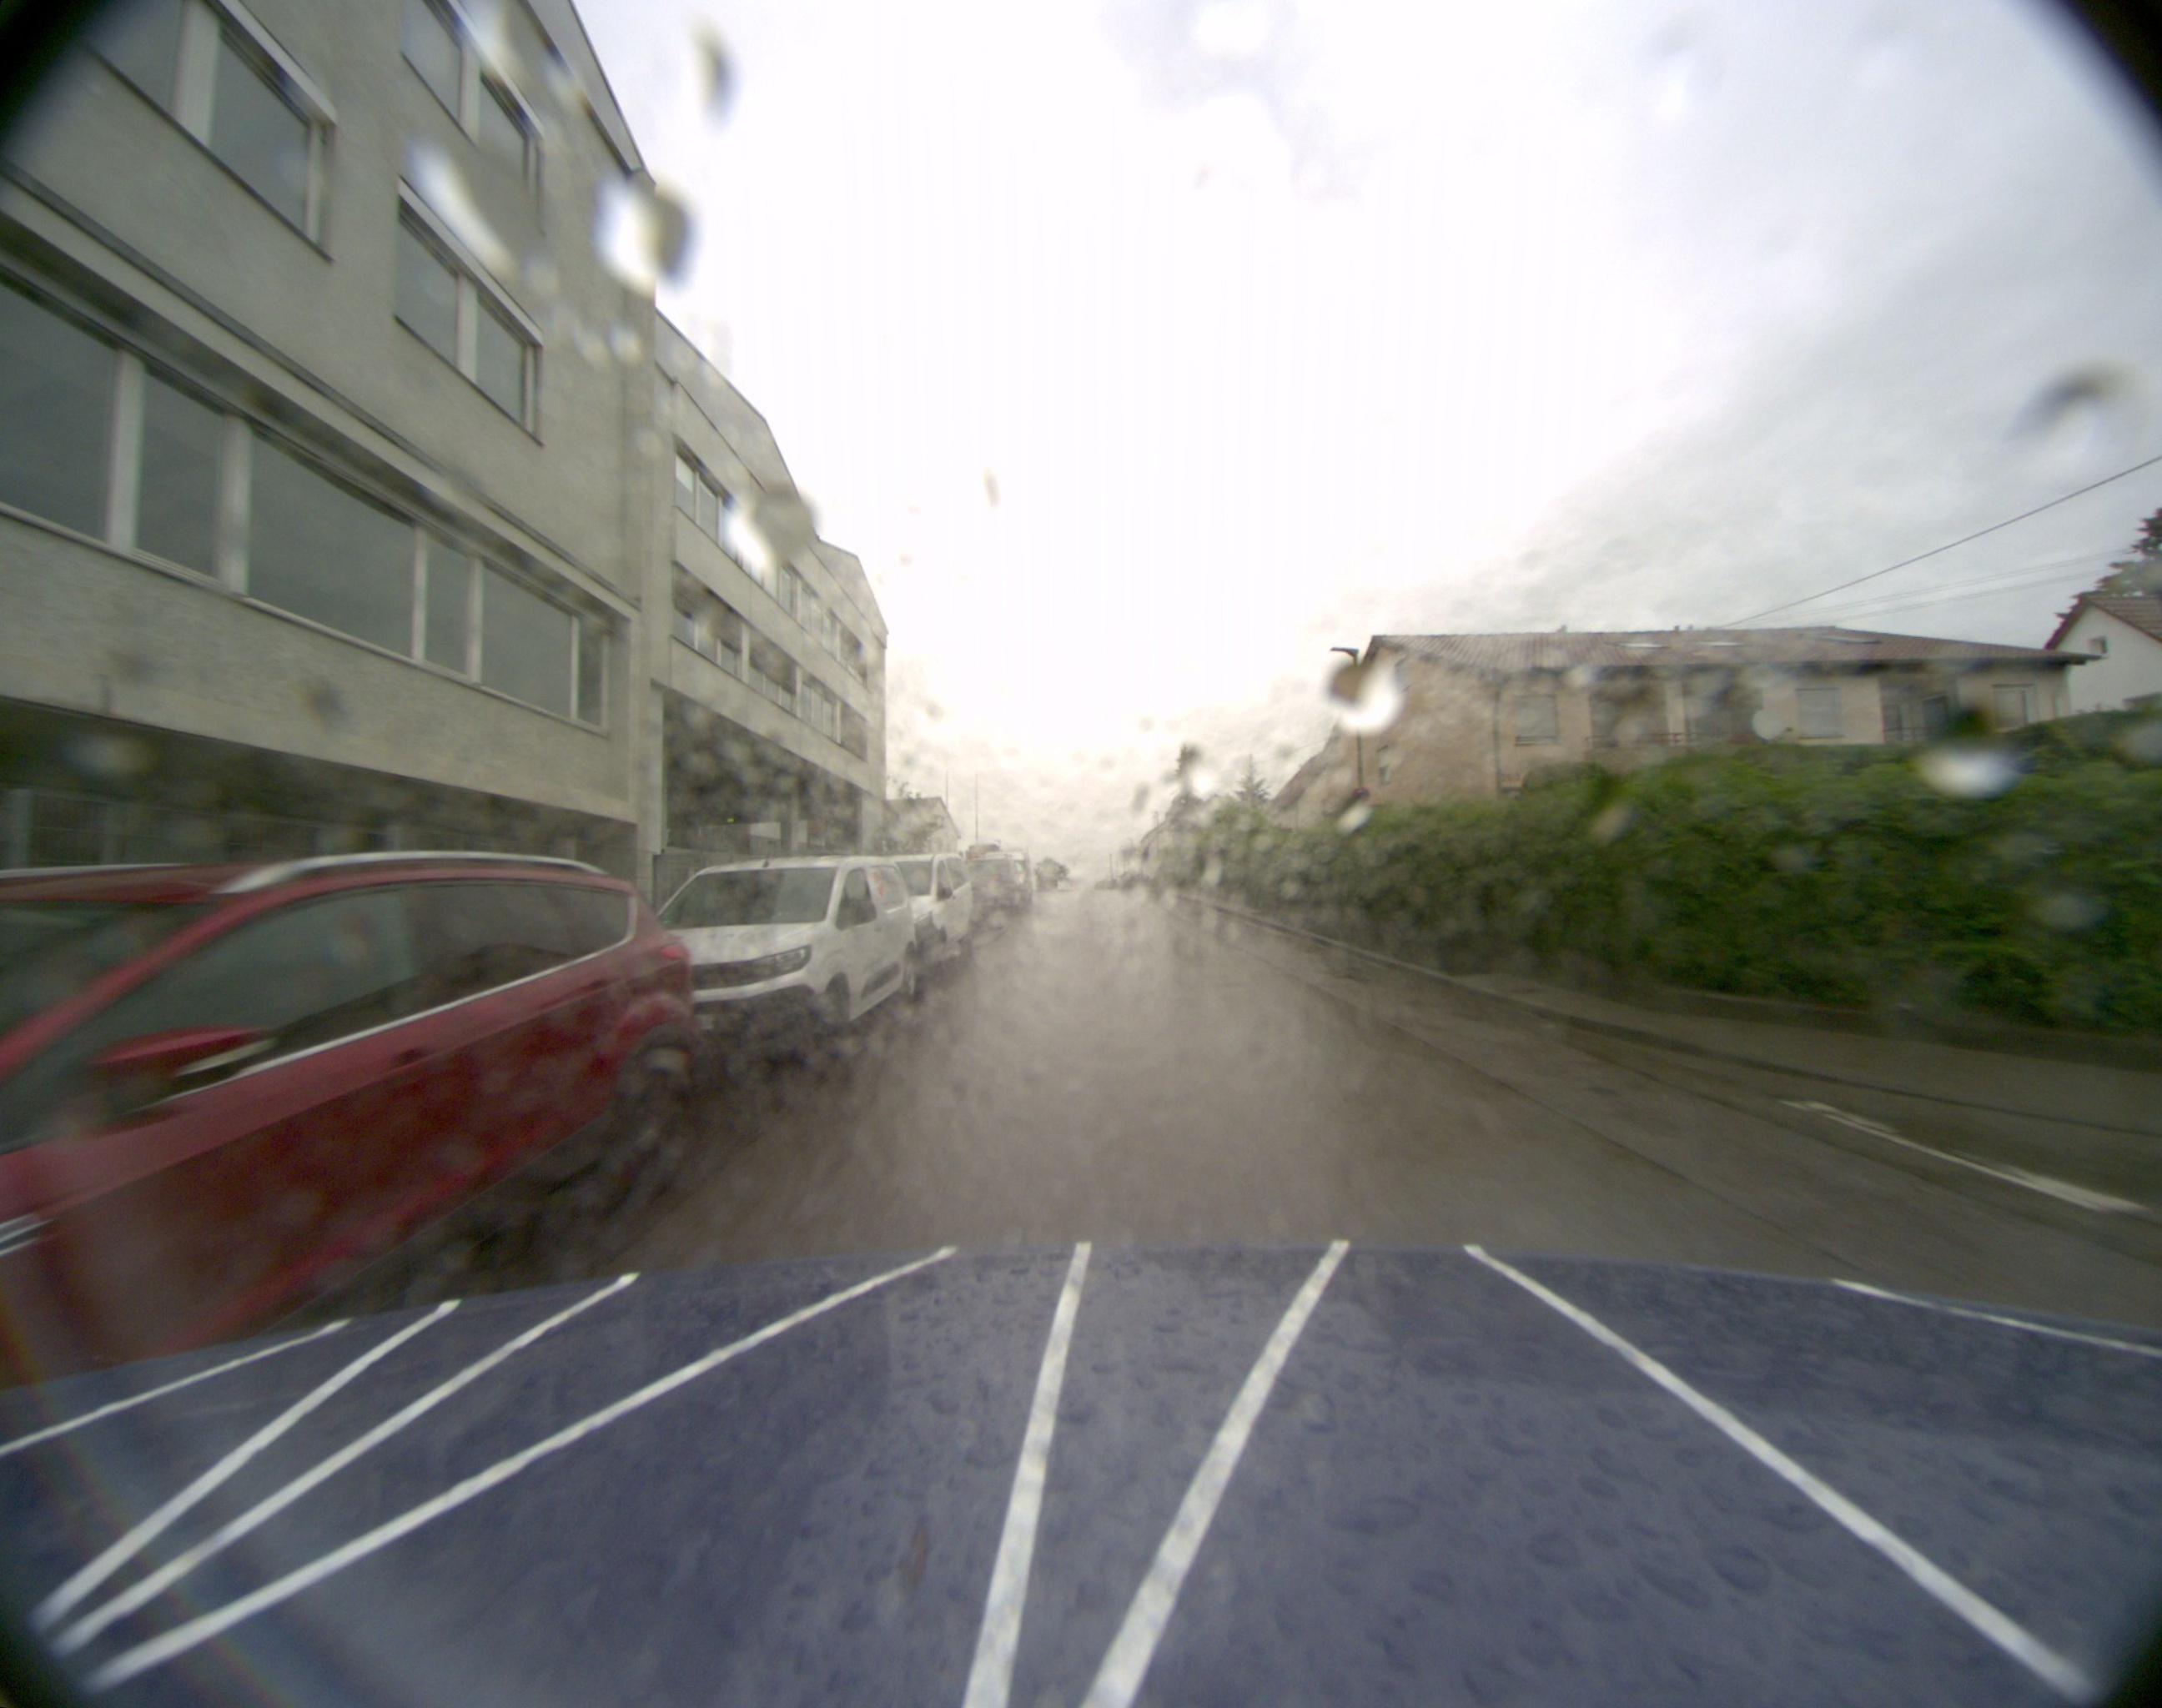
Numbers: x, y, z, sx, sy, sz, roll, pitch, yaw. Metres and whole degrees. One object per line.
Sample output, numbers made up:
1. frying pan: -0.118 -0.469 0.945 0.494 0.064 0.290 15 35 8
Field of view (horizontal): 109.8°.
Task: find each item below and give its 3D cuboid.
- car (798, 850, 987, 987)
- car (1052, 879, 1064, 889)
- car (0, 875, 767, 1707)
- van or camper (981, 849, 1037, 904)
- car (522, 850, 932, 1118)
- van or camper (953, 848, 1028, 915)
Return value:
1. car: -3.023 0.963 13.403 1.998 1.923 4.976 -1 -1 1
2. car: -3.496 4.599 115.498 1.898 1.537 4.001 0 -2 -2
3. car: -3.056 0.942 2.395 1.998 1.634 4.959 -1 -1 1
4. van or camper: -3.084 0.960 33.589 1.999 2.229 5.442 0 -1 0
5. car: -2.902 0.934 7.518 1.883 1.822 4.489 -1 -1 1
6. van or camper: -3.026 0.915 26.559 1.999 2.100 5.203 0 -1 0
